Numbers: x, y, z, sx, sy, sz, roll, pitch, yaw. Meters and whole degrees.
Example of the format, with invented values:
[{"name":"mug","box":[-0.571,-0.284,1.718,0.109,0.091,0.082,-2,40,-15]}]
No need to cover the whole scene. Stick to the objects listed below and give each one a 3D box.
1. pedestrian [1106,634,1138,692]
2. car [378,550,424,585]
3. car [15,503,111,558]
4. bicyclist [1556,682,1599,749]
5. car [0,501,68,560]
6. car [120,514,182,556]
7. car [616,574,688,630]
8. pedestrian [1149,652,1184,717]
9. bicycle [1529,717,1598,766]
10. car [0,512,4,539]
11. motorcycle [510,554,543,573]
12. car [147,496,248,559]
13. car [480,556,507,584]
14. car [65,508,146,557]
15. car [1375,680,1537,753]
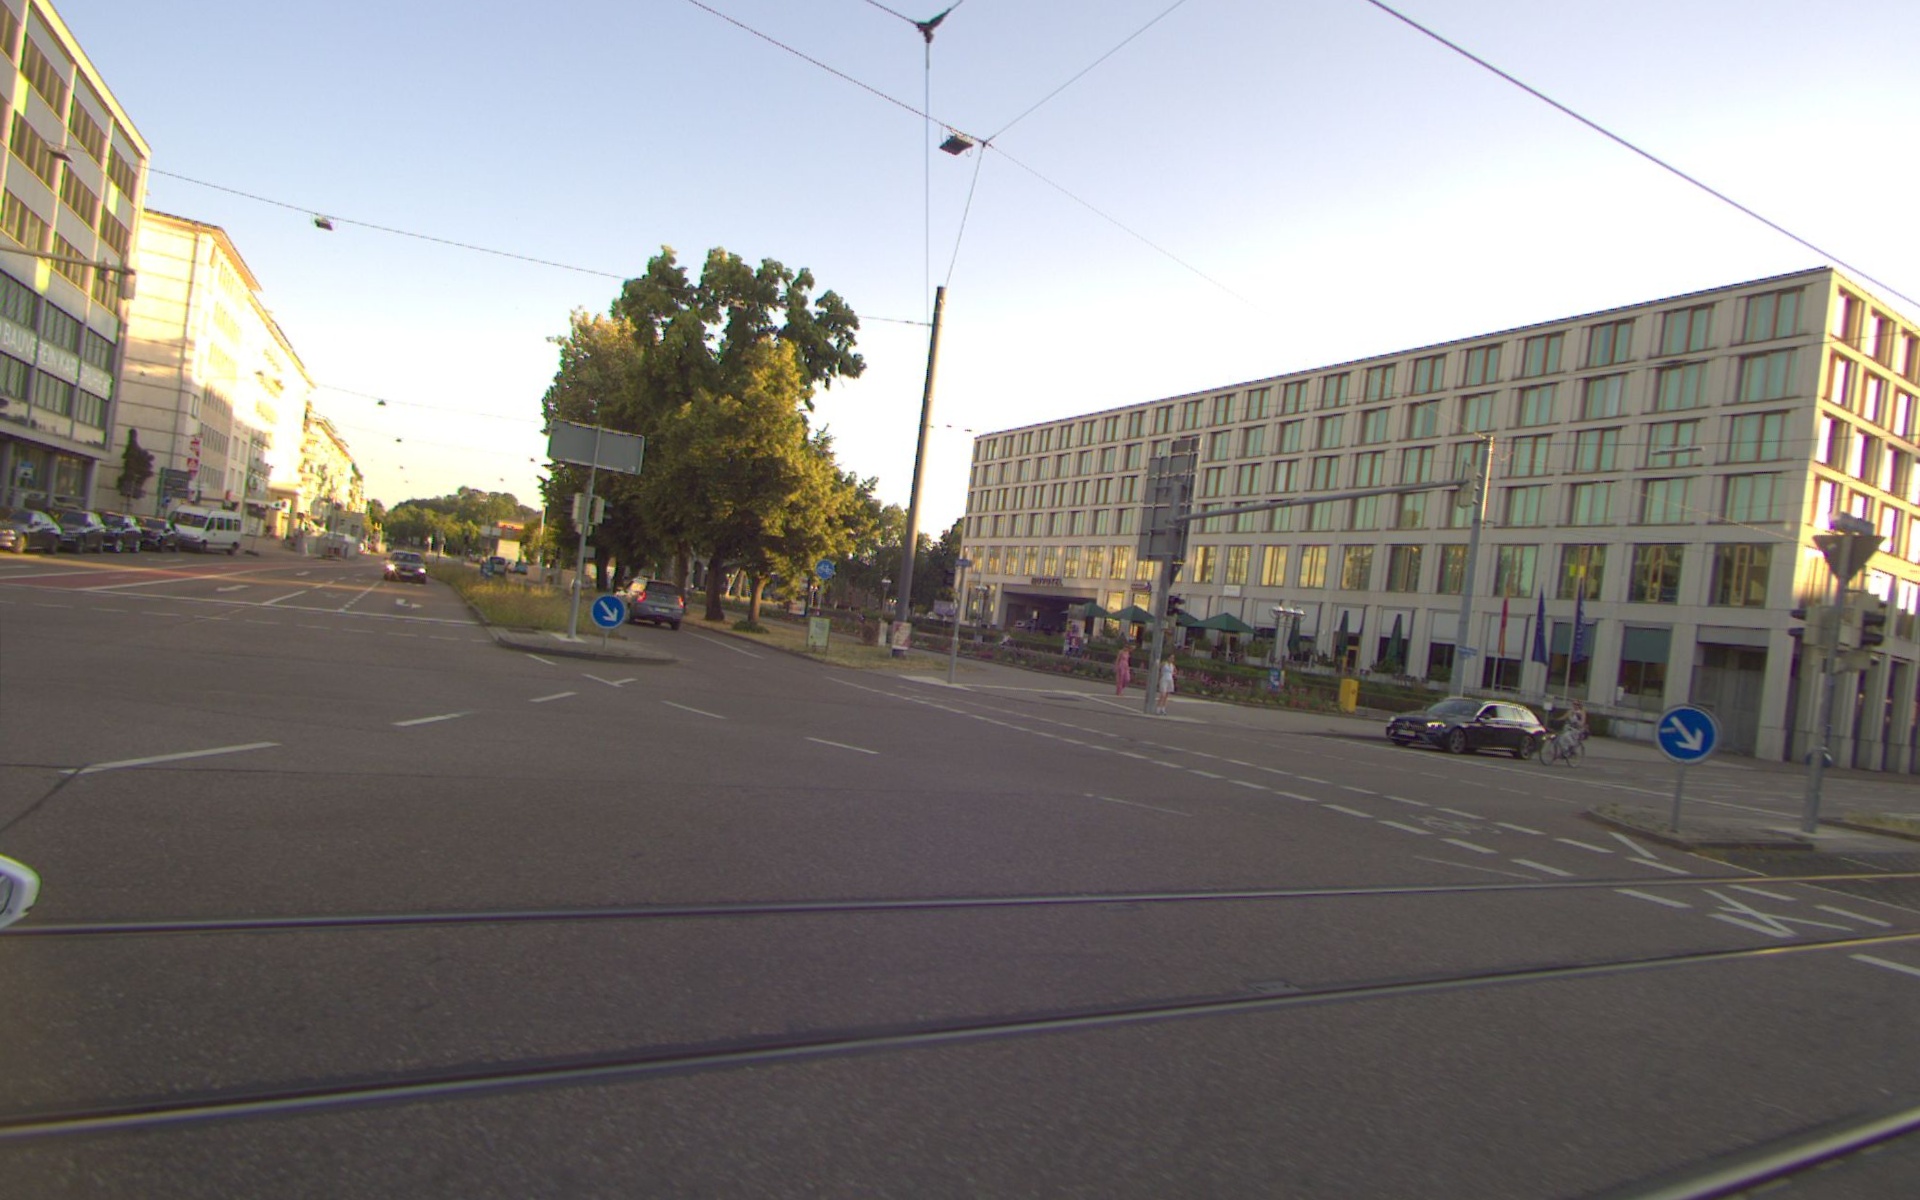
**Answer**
[{"name":"pedestrian","box":[4.969,1.919,30.855,0.712,1.646,0.739,7,0,3]},{"name":"car","box":[-27.357,-1.626,49.298,1.678,1.438,4.145,7,0,-27]},{"name":"car","box":[-34.269,-2.620,38.551,1.682,1.683,3.840,11,-3,-29]},{"name":"bicyclist","box":[16.056,3.000,26.153,0.589,1.656,0.538,7,1,-23]},{"name":"car","box":[-31.791,-2.374,33.787,1.682,1.683,3.840,11,-3,-29]},{"name":"car","box":[-39.275,-3.156,48.926,1.489,1.683,3.840,11,-2,-29]},{"name":"car","box":[-10.981,0.032,35.683,1.678,1.624,4.064,8,-1,-26]},{"name":"pedestrian","box":[5.519,2.250,26.901,0.528,1.646,0.626,7,0,-11]},{"name":"bicycle","box":[15.589,3.663,25.992,1.738,1.064,0.537,7,0,-24]},{"name":"car","box":[-29.072,-1.998,28.581,1.680,1.427,3.840,9,-1,-29]},{"name":"motorcycle","box":[-51.456,-4.330,119.477,3.456,1.776,0.920,7,0,-26]},{"name":"car","box":[-41.645,-3.881,55.164,2.215,2.656,5.832,11,-3,-18]},{"name":"car","box":[-41.765,-2.709,89.941,1.867,2.265,3.884,7,0,-27]},{"name":"car","box":[-36.672,-2.877,43.262,1.682,1.683,3.840,11,-3,-29]},{"name":"car","box":[13.606,3.211,27.473,4.766,1.540,1.801,8,-3,-35]}]
